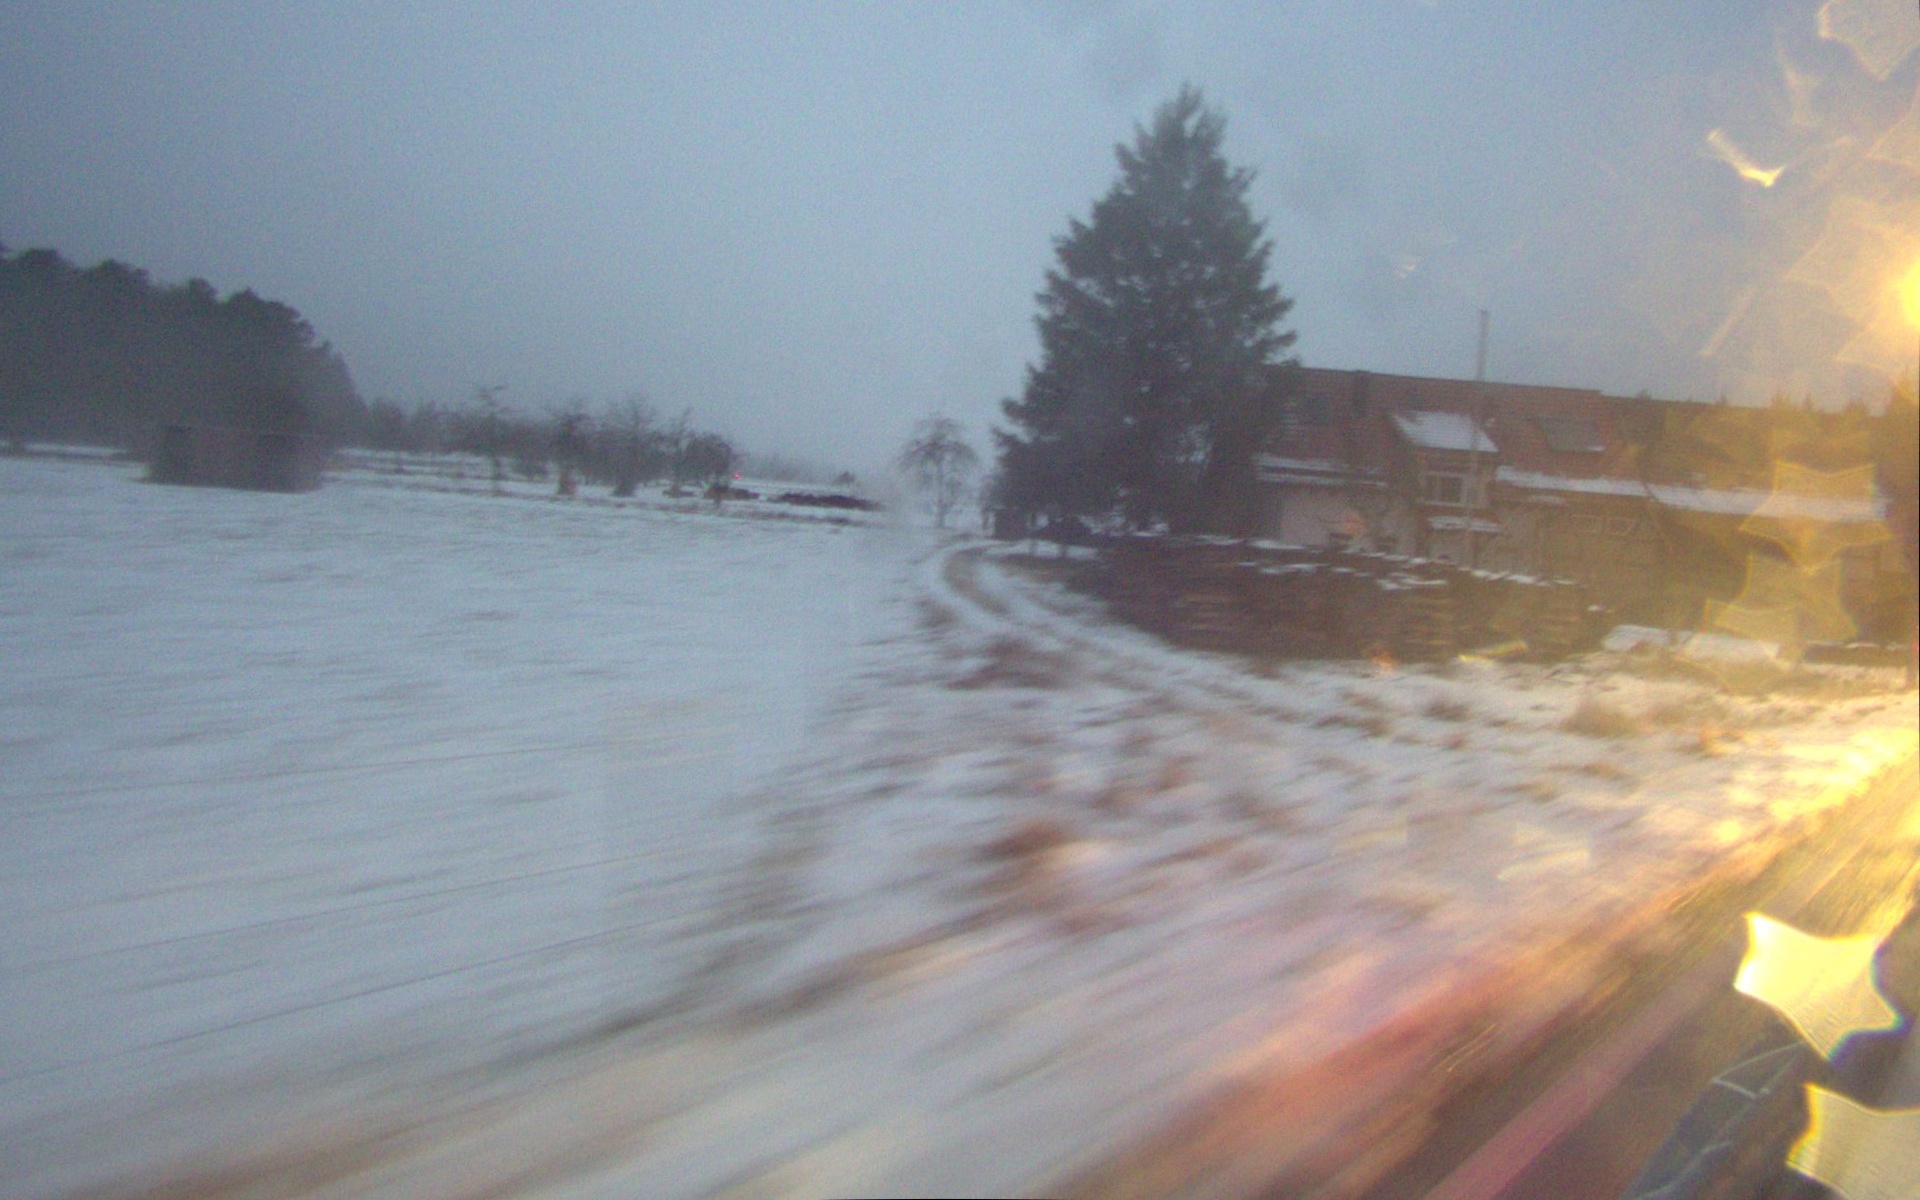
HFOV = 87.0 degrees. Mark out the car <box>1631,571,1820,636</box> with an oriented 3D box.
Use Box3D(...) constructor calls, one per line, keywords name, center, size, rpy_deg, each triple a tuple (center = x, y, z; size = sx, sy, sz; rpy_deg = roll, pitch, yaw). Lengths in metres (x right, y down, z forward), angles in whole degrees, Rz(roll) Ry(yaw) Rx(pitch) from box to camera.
Box3D(name="car", center=(24.665, 0.080, 32.772), size=(1.825, 1.677, 4.417), rpy_deg=(3, 3, -32))
